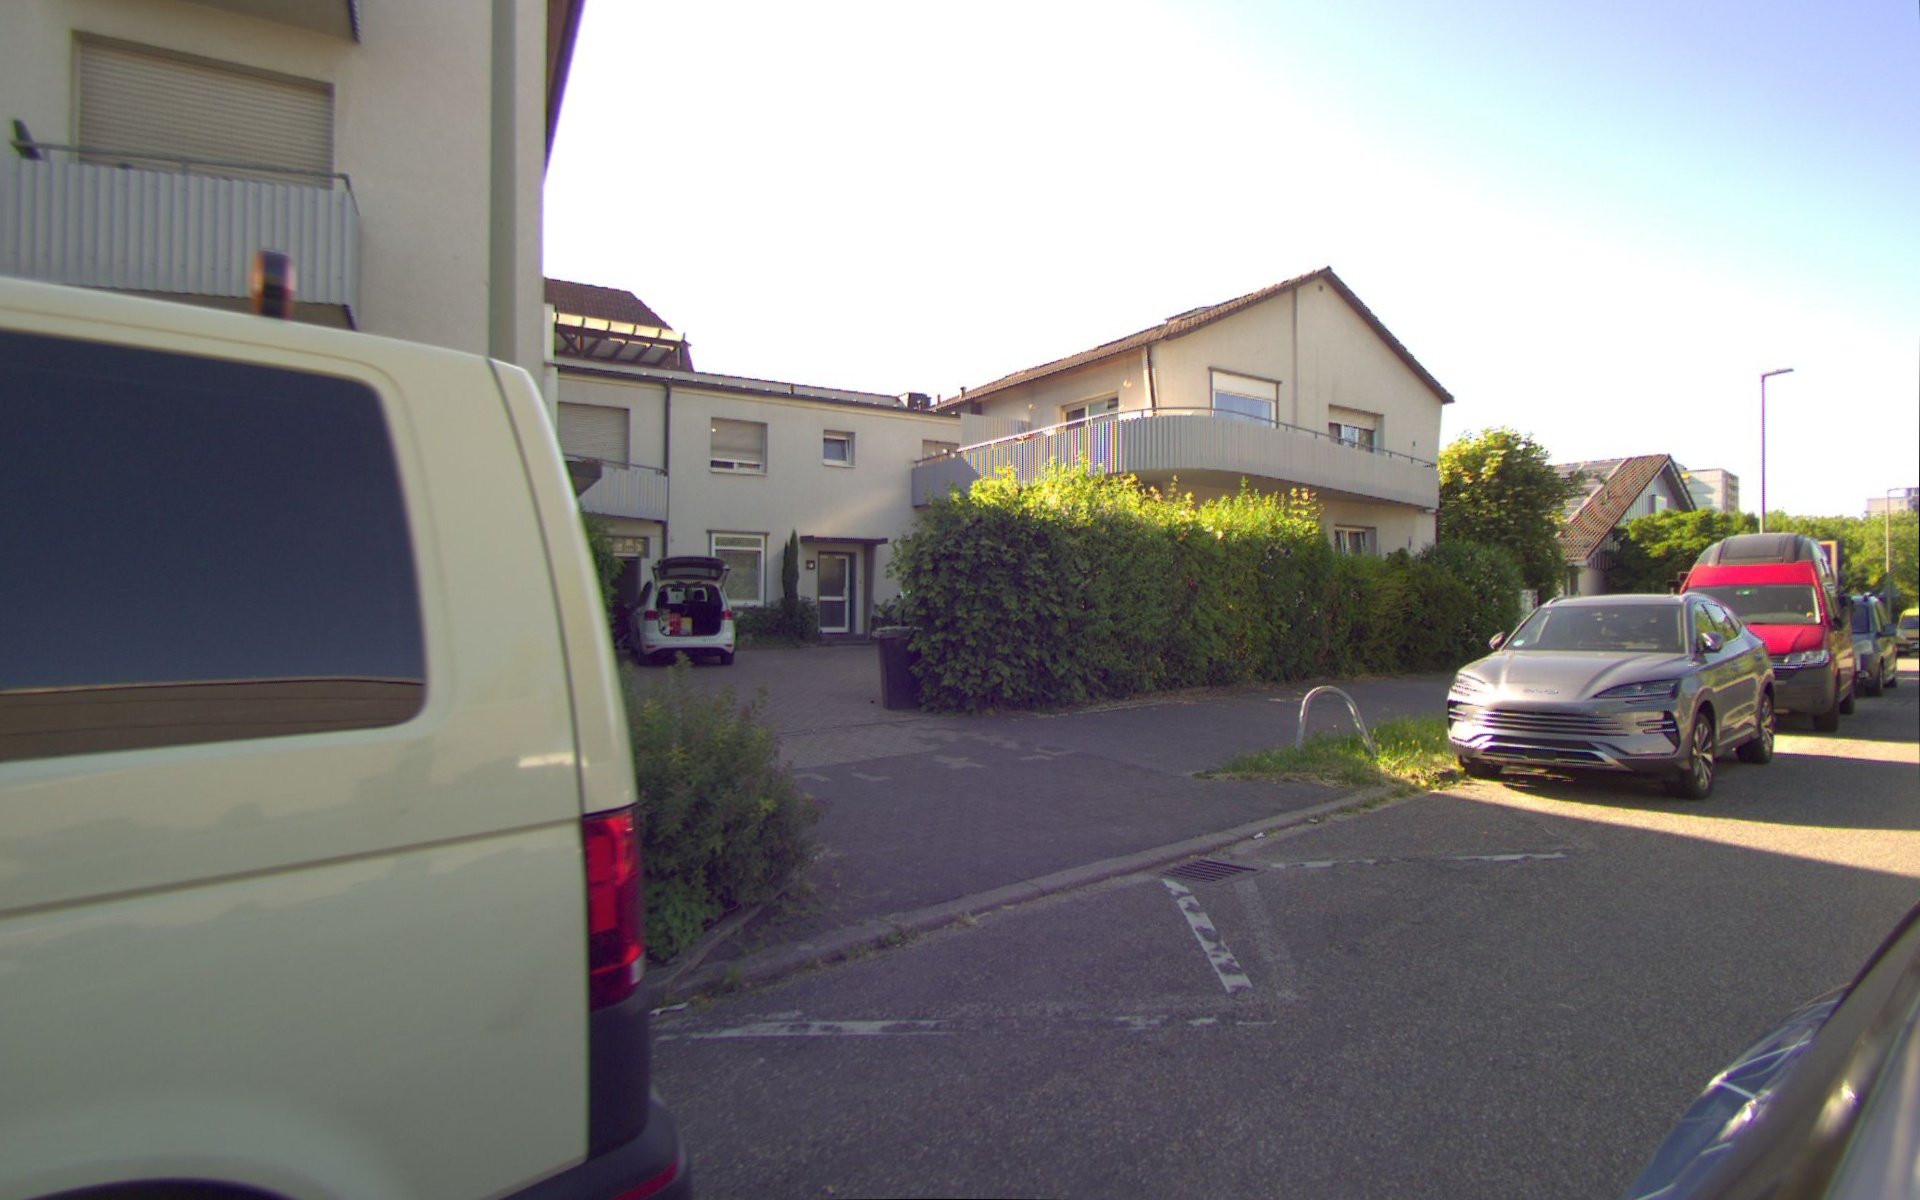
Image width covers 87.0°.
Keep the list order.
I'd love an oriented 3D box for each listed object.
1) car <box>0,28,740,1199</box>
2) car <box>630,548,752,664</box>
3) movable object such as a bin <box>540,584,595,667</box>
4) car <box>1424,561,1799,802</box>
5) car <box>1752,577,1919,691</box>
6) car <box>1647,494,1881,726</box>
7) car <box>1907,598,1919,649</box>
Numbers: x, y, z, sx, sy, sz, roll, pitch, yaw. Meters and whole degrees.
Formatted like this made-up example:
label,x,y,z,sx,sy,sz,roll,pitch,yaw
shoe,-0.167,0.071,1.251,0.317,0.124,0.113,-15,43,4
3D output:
label,x,y,z,sx,sy,sz,roll,pitch,yaw
car,-2.753,0.413,1.123,4.495,2.105,1.998,-1,-1,-39
car,-5.282,0.060,19.518,1.730,1.984,4.009,1,1,-22
movable object such as a bin,-6.664,0.430,17.158,0.767,1.360,0.803,1,-1,-28
car,6.366,0.614,9.663,4.499,1.760,1.959,0,-1,-43
car,16.414,0.603,18.868,4.483,1.872,1.858,0,-3,-43
car,11.445,0.142,14.249,1.957,2.678,5.138,-2,-2,45
car,35.728,0.837,36.752,3.914,1.799,1.619,0,-2,-43
